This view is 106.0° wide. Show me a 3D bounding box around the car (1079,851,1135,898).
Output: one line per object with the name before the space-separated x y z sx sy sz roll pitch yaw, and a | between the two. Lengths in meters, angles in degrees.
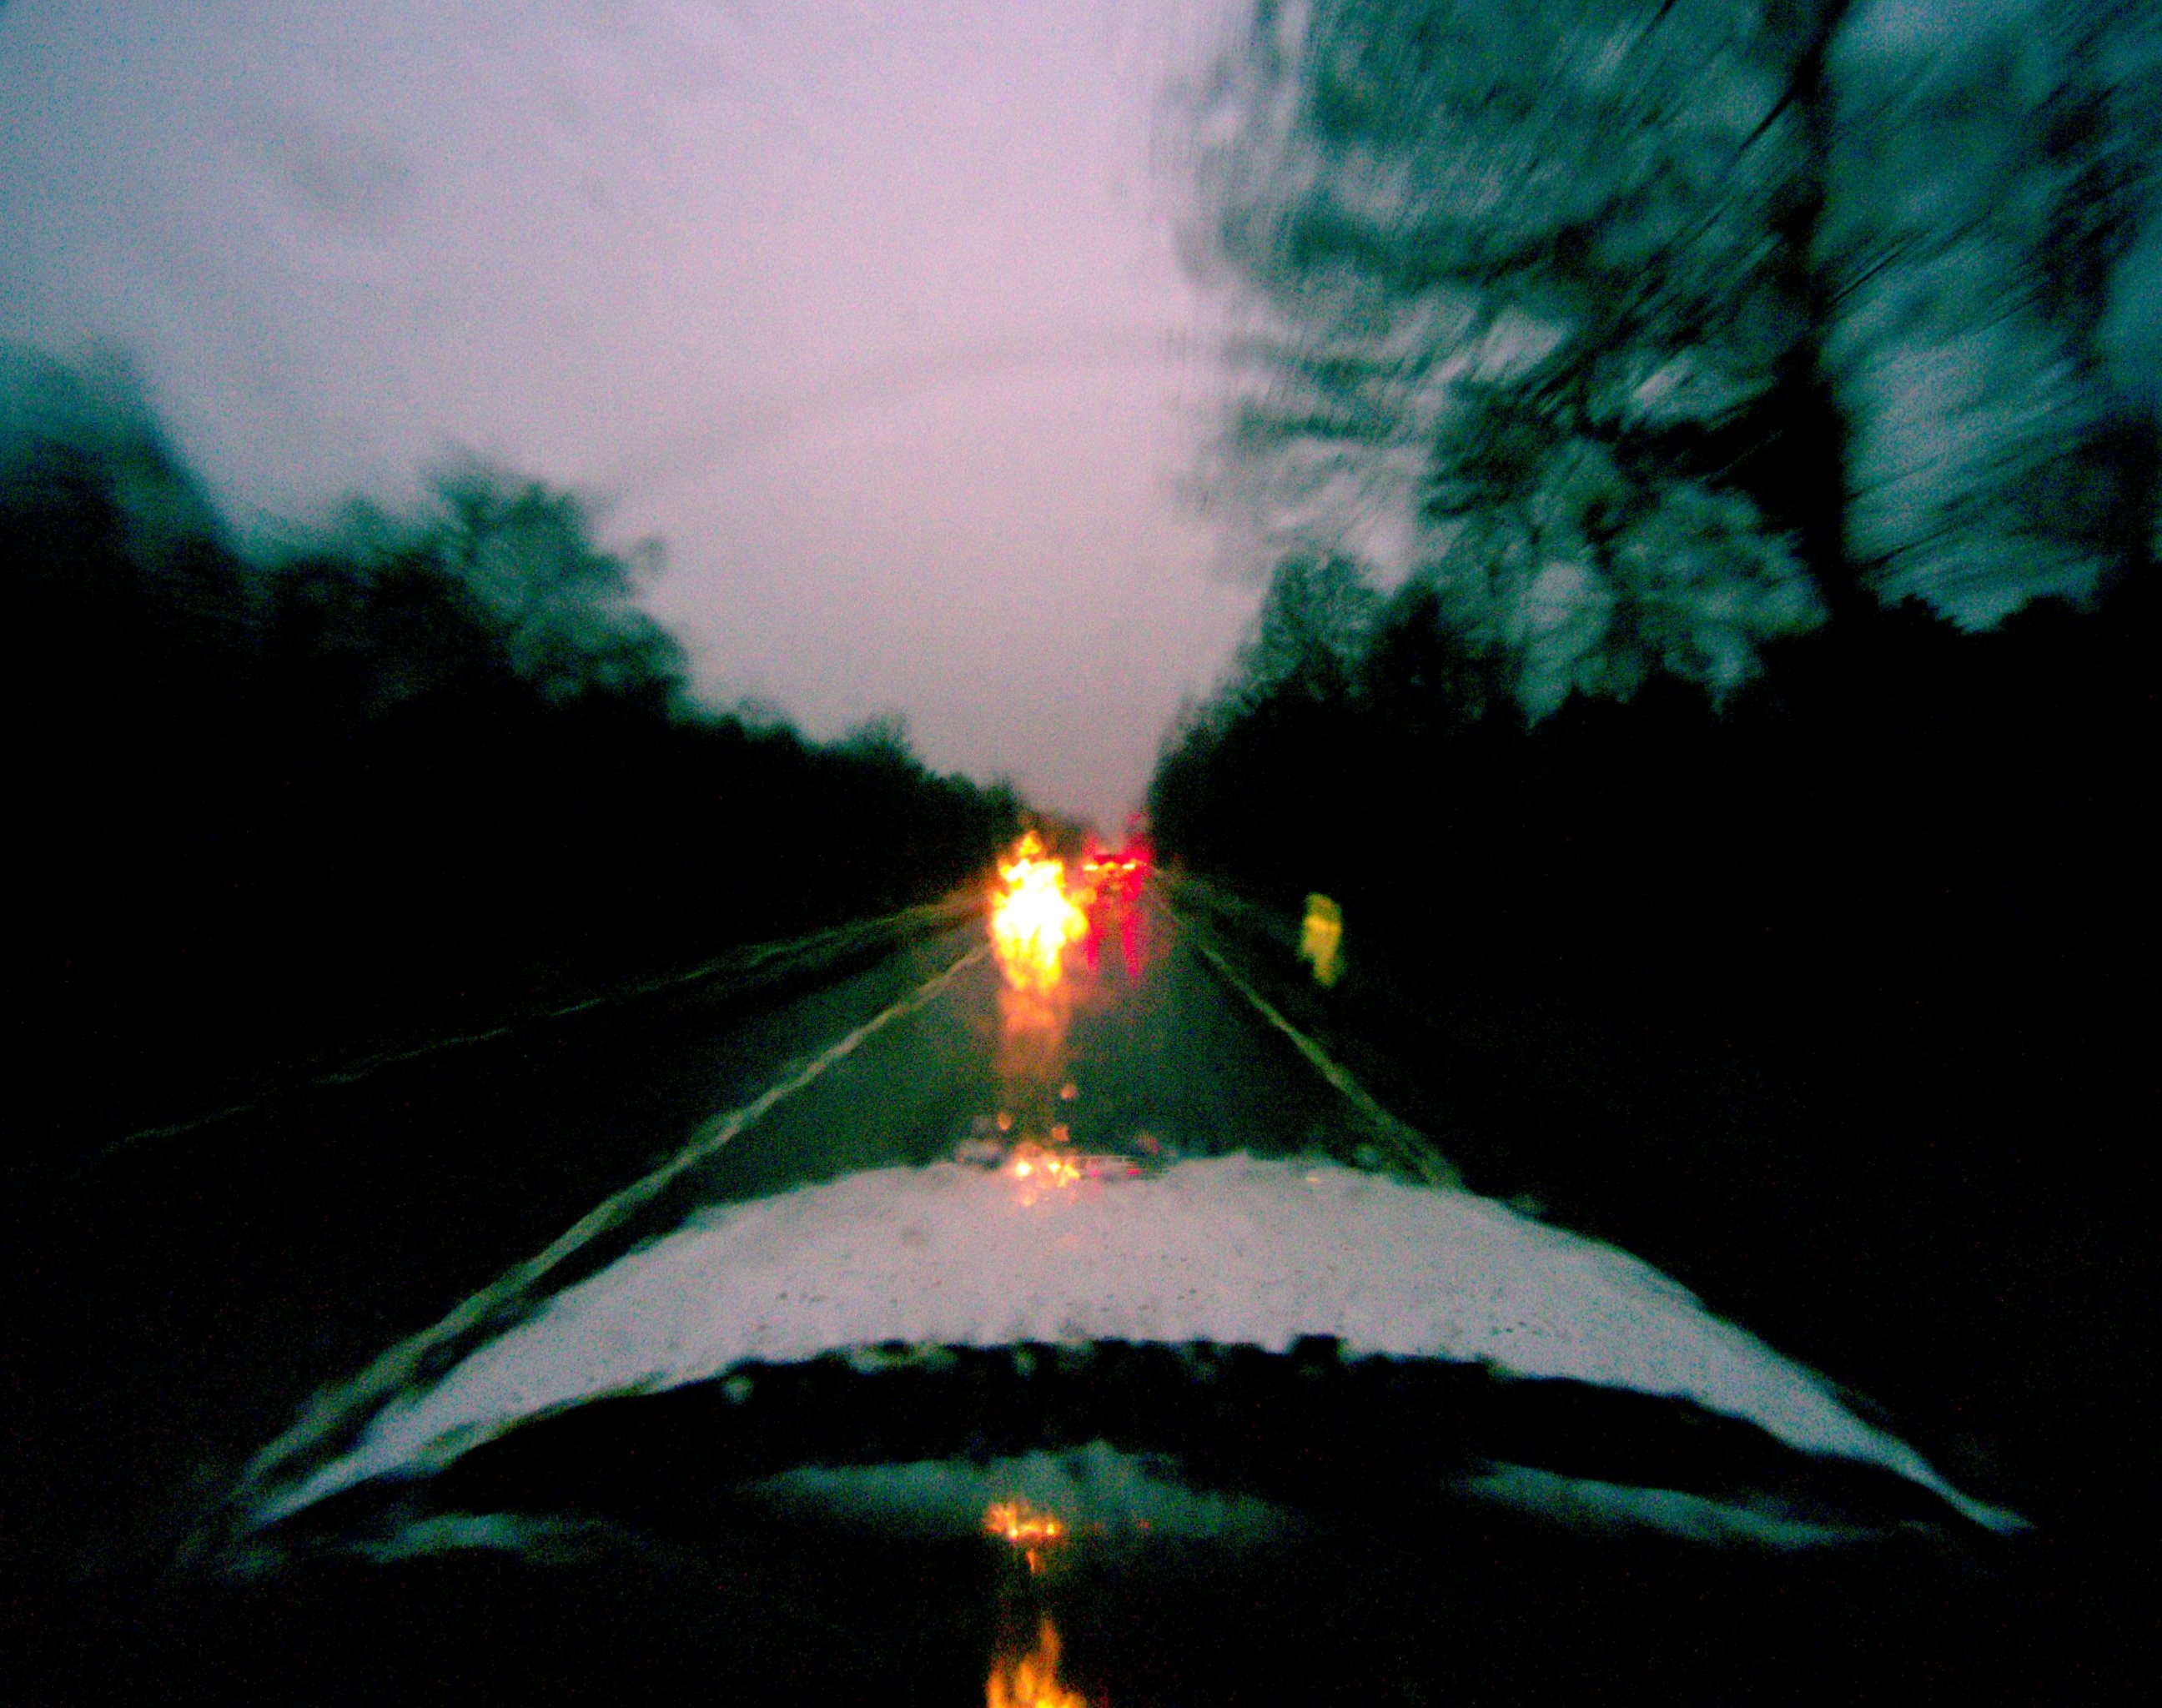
car | 0.868 0.616 26.691 1.672 1.389 4.100 -1 0 2

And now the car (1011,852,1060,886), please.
car | -2.028 0.661 37.558 1.806 1.438 4.101 -1 0 3
